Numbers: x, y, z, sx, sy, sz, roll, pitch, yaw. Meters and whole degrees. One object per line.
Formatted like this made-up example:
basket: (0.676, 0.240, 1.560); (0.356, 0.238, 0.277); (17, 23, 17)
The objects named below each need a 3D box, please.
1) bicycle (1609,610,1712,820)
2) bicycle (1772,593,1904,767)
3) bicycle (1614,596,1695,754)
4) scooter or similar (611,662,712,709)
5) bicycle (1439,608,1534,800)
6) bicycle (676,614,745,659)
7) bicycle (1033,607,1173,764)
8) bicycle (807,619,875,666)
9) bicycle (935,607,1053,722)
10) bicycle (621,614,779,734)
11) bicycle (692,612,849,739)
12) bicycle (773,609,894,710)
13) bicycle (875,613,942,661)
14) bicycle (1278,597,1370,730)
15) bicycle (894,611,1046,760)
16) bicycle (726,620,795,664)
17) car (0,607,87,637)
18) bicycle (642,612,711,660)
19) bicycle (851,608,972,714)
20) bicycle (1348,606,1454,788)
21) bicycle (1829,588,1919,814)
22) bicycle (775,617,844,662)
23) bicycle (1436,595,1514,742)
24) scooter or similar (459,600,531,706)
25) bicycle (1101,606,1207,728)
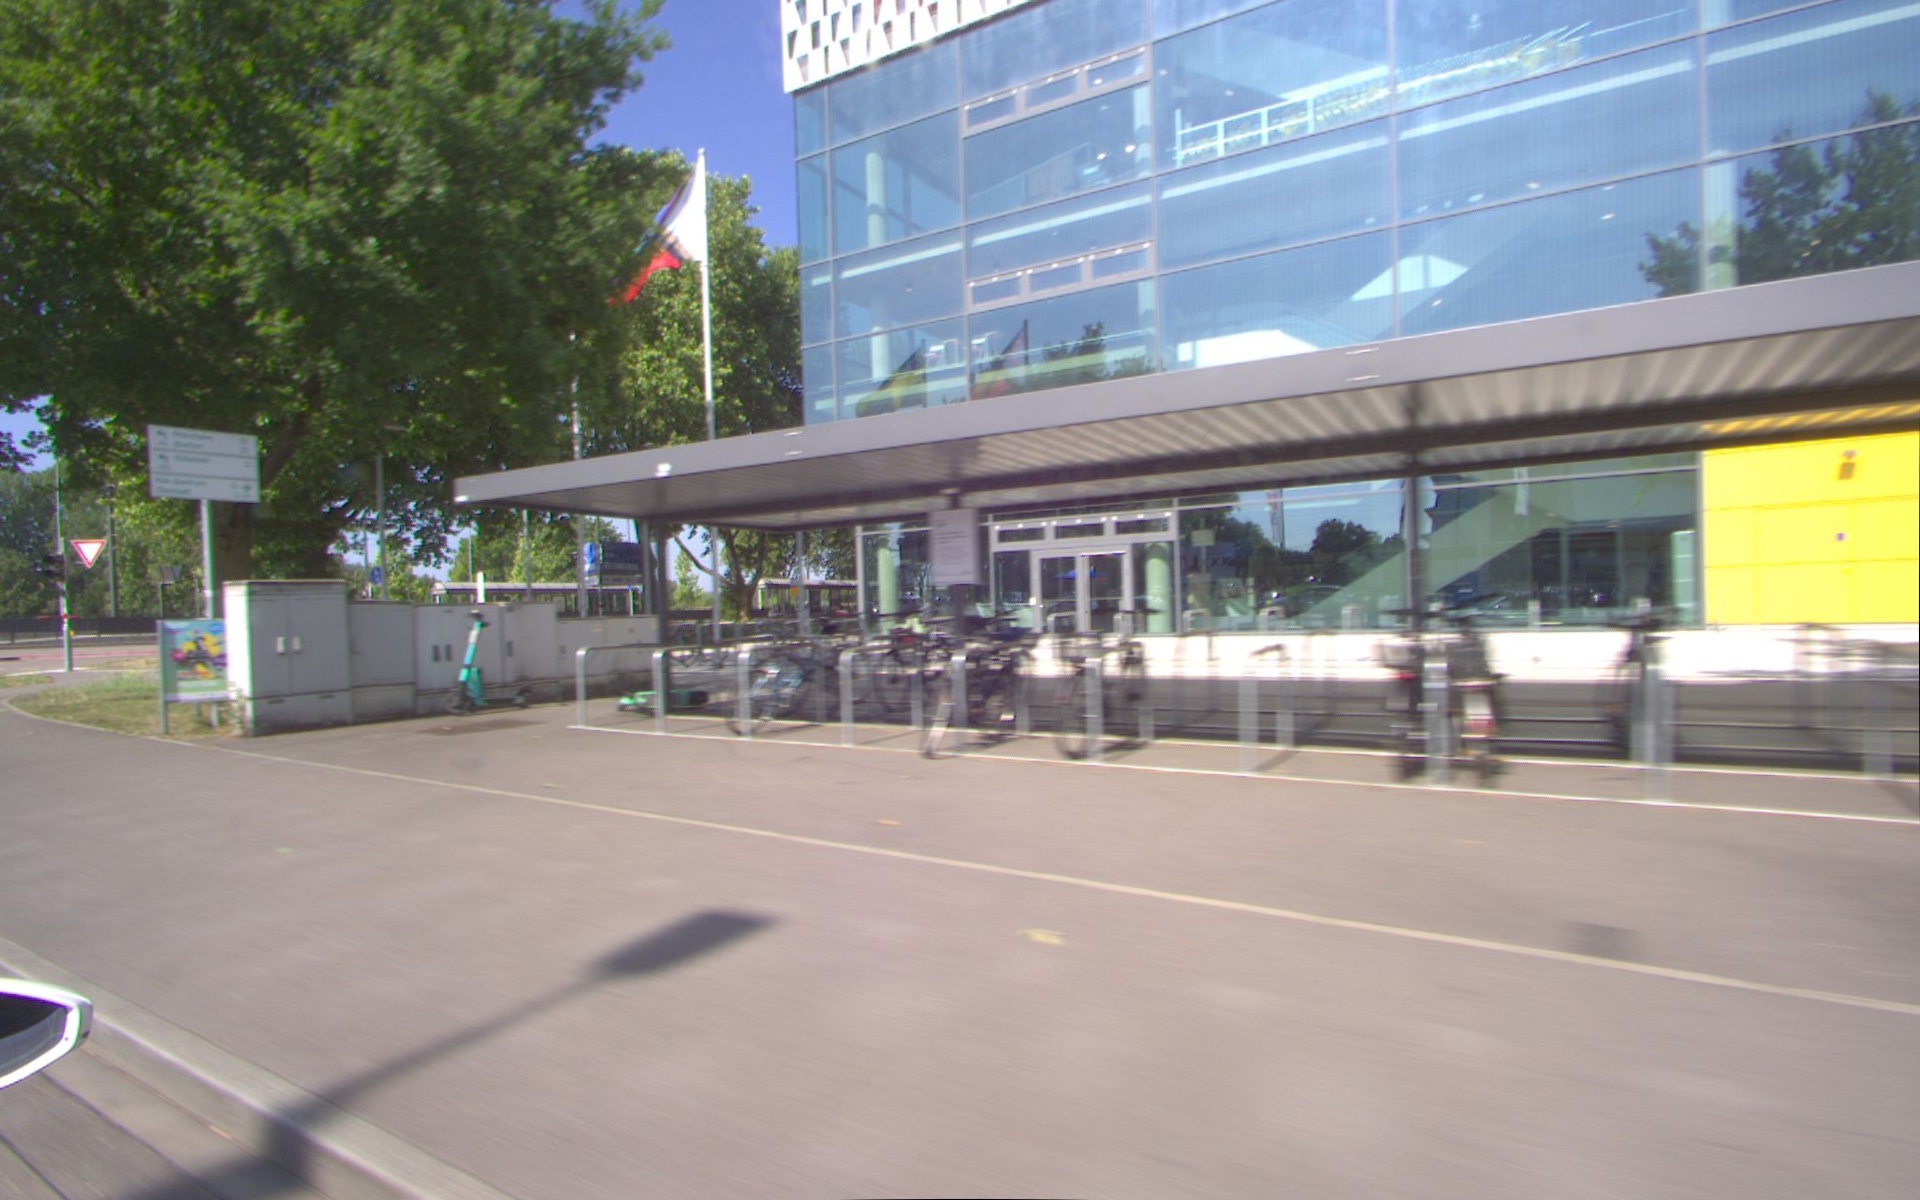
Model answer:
bicycle: (4.399, 0.641, 6.352); (0.445, 1.111, 1.754); (0, 1, 32)
bicycle: (6.393, 0.516, 7.357); (0.445, 1.111, 1.754); (0, 1, 32)
bicycle: (5.502, 0.532, 7.980); (0.445, 1.111, 1.754); (0, 1, 32)
scooter or similar: (-3.692, 1.044, 12.366); (0.908, 0.457, 0.954); (-3, 1, -37)
bicycle: (3.638, 0.632, 6.861); (0.445, 1.111, 1.754); (0, 1, 32)
bicycle: (-5.387, 0.779, 21.672); (0.428, 0.922, 1.557); (0, 1, 34)
bicycle: (1.205, 0.630, 8.151); (0.445, 1.111, 1.754); (0, 1, 32)
bicycle: (-2.332, 0.818, 19.802); (0.428, 0.854, 1.557); (0, 0, 34)
bicycle: (0.407, 0.655, 10.886); (0.445, 1.111, 1.754); (0, 1, 32)
bicycle: (-2.675, 0.720, 10.485); (0.445, 1.111, 1.754); (0, 1, 32)
bicycle: (-1.838, 0.700, 9.964); (0.445, 1.111, 1.754); (0, 1, 32)
bicycle: (-1.513, 0.685, 12.283); (0.445, 1.111, 1.754); (0, 1, 32)
bicycle: (-0.966, 0.694, 19.061); (0.428, 0.854, 1.557); (0, 0, 34)
bicycle: (3.436, 0.536, 9.368); (0.445, 1.111, 1.754); (0, 1, 32)
bicycle: (0.135, 0.673, 8.616); (0.445, 1.111, 1.754); (0, 1, 32)
bicycle: (-4.166, 0.865, 20.984); (0.428, 0.854, 1.557); (0, 0, 34)
car: (-49.149, 1.145, 53.082); (1.720, 1.464, 3.981); (0, 0, 30)
bicycle: (-6.286, 0.790, 22.264); (0.428, 1.008, 1.557); (0, 1, 34)
bicycle: (-0.533, 0.672, 11.754); (0.445, 1.111, 1.824); (0, 1, 32)
bicycle: (3.182, 0.619, 7.150); (0.445, 1.111, 1.754); (0, 1, 32)
bicycle: (5.364, 0.495, 5.624); (0.456, 1.111, 1.754); (0, 1, 32)
bicycle: (-3.046, 0.783, 20.344); (0.428, 0.854, 1.557); (0, 0, 35)
bicycle: (4.422, 0.525, 8.552); (0.445, 1.111, 1.754); (0, 1, 32)
scooter or similar: (-5.857, 0.649, 12.636); (0.279, 1.282, 0.775); (0, 2, 30)
bicycle: (2.010, 0.629, 10.207); (0.445, 1.111, 1.754); (0, 1, 32)
